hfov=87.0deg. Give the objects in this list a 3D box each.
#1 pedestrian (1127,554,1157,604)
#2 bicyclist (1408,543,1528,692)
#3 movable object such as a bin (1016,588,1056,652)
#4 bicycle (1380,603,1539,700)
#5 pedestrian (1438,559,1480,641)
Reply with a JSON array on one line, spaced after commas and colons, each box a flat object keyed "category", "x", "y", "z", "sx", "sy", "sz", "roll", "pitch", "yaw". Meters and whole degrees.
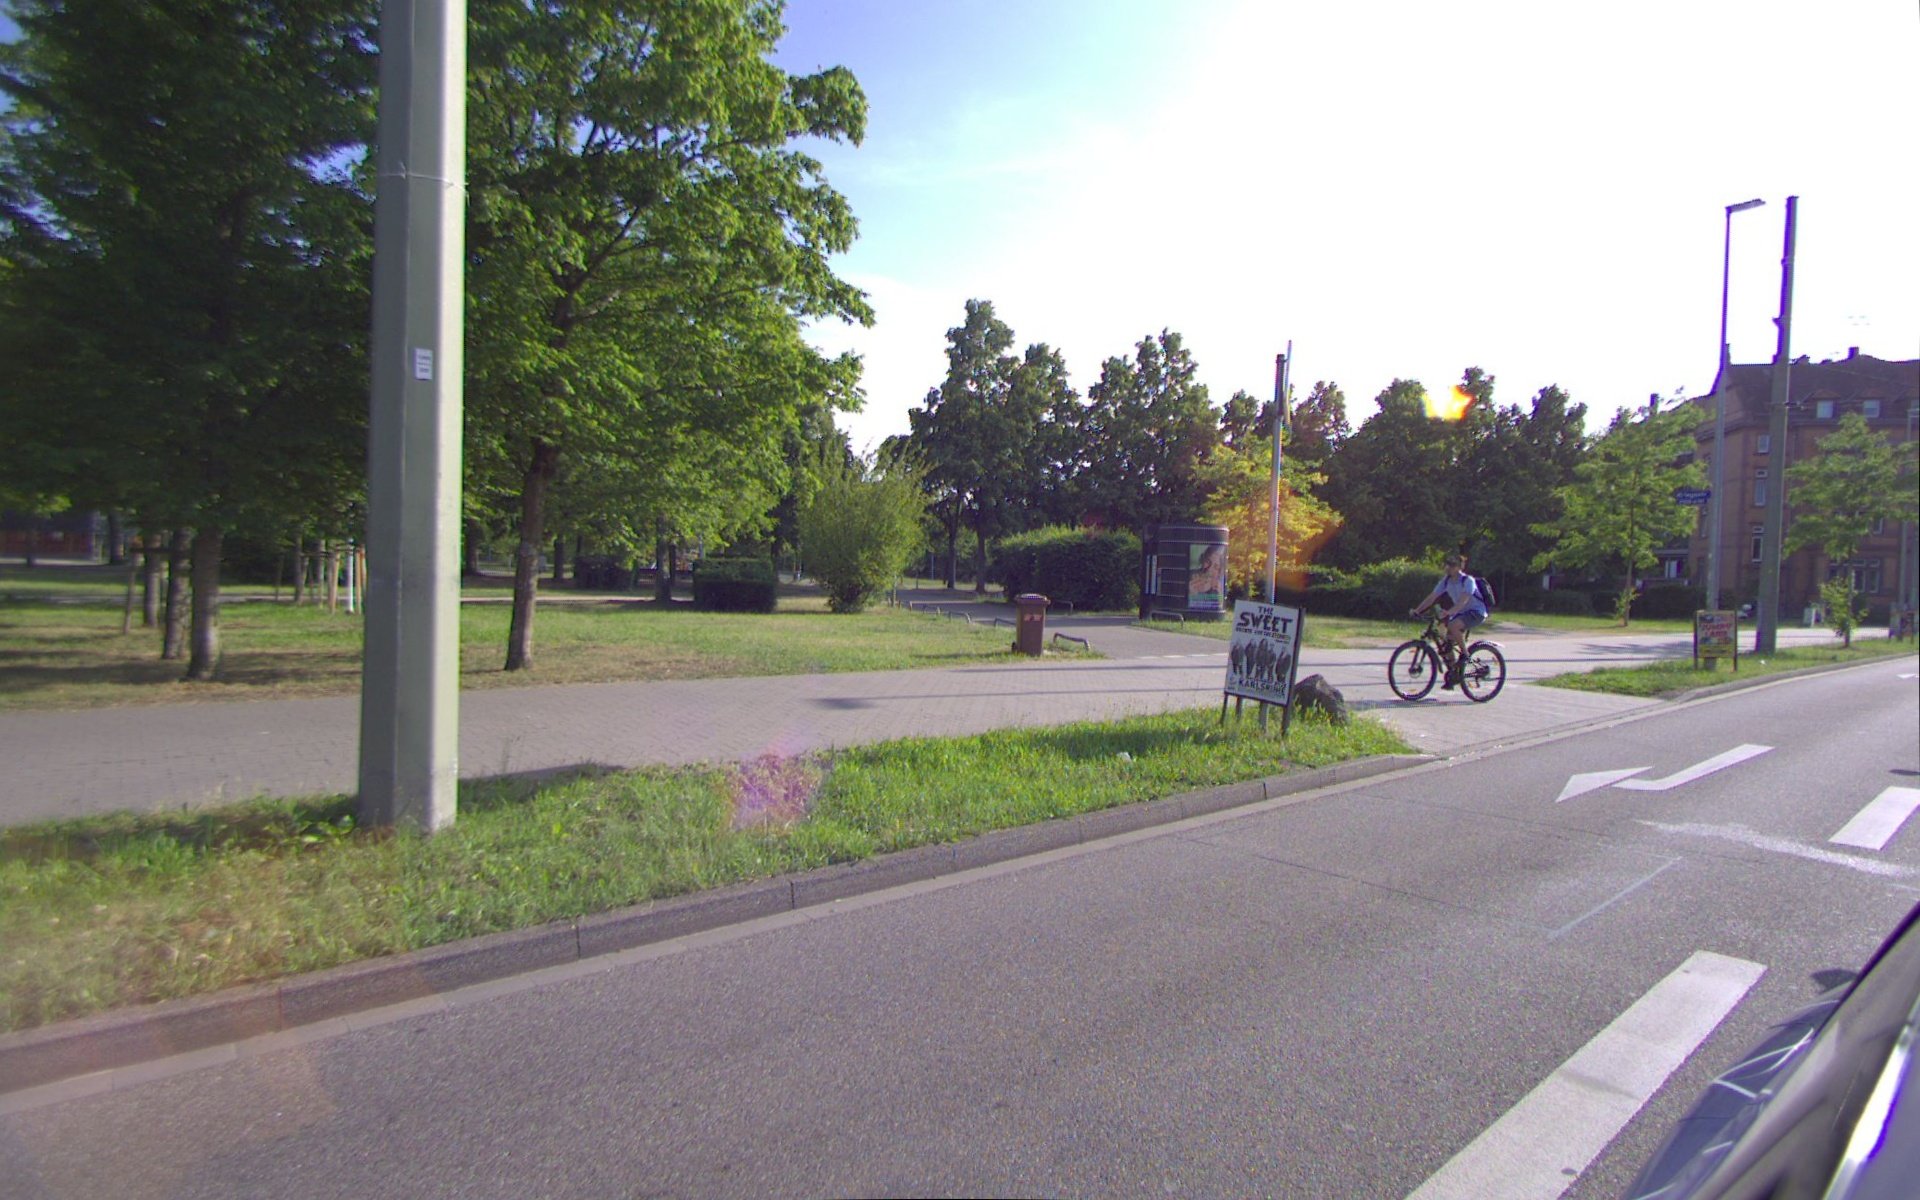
[{"category": "pedestrian", "x": 8.084, "y": -0.919, "z": 44.939, "sx": 0.872, "sy": 2.184, "sz": 0.914, "roll": 1, "pitch": 1, "yaw": -28}, {"category": "bicyclist", "x": 6.368, "y": 0.214, "z": 12.706, "sx": 1.116, "sy": 1.766, "sz": 0.653, "roll": 2, "pitch": 4, "yaw": -24}, {"category": "movable object such as a bin", "x": 1.139, "y": 0.291, "z": 15.260, "sx": 0.514, "sy": 0.915, "sz": 0.504, "roll": 2, "pitch": 1, "yaw": -2}, {"category": "bicycle", "x": 6.265, "y": 0.634, "z": 12.685, "sx": 1.899, "sy": 1.101, "sz": 0.644, "roll": 2, "pitch": 4, "yaw": -24}, {"category": "pedestrian", "x": 10.729, "y": 0.001, "z": 21.750, "sx": 0.651, "sy": 1.722, "sz": 0.558, "roll": 1, "pitch": 2, "yaw": -41}]
